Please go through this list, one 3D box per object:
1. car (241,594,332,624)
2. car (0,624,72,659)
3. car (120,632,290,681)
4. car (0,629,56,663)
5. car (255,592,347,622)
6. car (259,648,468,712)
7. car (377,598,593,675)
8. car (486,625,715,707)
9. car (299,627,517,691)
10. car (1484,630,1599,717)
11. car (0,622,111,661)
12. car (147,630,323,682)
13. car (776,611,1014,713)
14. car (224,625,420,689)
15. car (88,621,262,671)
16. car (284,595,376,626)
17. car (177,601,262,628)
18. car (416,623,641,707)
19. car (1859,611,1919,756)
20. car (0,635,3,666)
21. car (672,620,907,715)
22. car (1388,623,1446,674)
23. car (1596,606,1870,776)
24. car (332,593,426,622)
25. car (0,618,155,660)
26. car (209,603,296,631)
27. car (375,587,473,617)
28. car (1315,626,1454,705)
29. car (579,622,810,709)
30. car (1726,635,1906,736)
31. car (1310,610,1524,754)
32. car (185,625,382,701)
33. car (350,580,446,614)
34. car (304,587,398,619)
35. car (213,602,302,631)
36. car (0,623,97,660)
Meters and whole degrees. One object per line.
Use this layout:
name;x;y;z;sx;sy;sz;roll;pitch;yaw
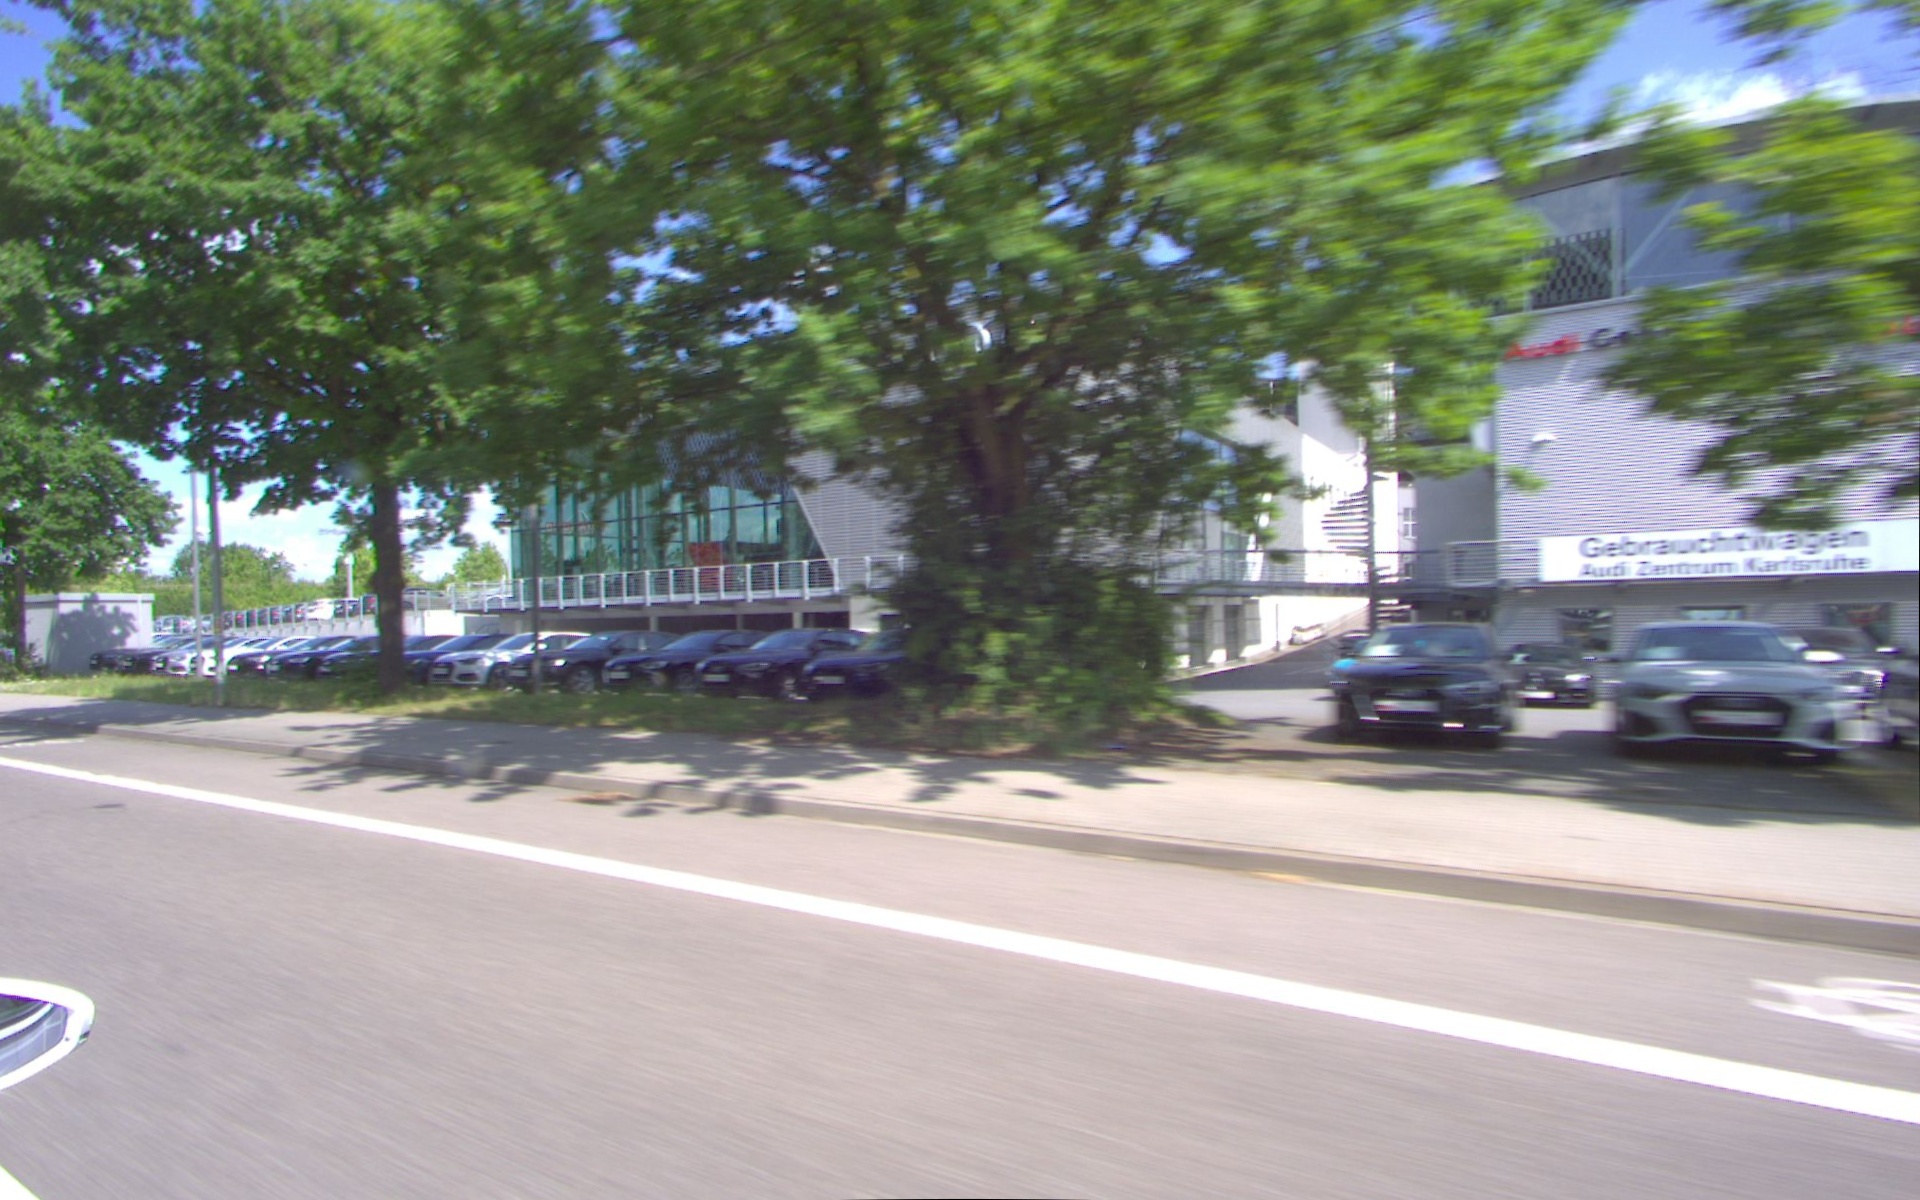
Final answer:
car;-42.339;0.599;63.031;1.910;1.798;4.343;1;-1;35
car;-43.211;1.866;45.189;1.907;1.532;4.349;1;-1;31
car;-24.676;1.814;32.849;1.829;1.464;4.099;-1;-1;32
car;-45.408;2.154;46.792;1.907;1.532;4.349;1;-1;31
car;-40.679;0.463;61.883;1.910;1.798;4.343;1;-1;35
car;-16.084;2.097;27.258;1.879;1.423;4.567;1;-1;32
car;-11.655;0.857;24.890;1.879;1.700;4.567;1;-1;32
car;-7.732;1.352;21.980;1.880;1.518;4.566;-1;-1;32
car;-14.011;1.436;25.693;1.879;1.423;4.567;1;-1;32
car;12.233;1.452;21.007;1.880;1.518;4.338;-1;-1;32
car;-38.893;1.727;42.242;1.907;1.532;4.349;1;-1;31
car;-22.662;1.699;31.444;1.792;1.422;4.099;-1;-1;32
car;-0.976;0.990;17.653;1.880;1.518;4.566;-1;-1;32
car;-18.207;1.688;28.779;1.760;1.530;4.346;1;-6;32
car;-26.888;1.535;34.437;1.829;1.532;4.345;-1;-1;32
car;-38.201;0.668;60.772;1.910;1.798;4.343;1;-1;35
car;-51.084;0.994;69.143;1.910;1.798;4.343;1;-1;35
car;-9.857;1.414;23.258;1.879;1.700;4.567;1;-1;32
car;10.189;0.823;9.333;1.879;1.401;4.569;1;-2;32
car;-49.766;2.495;48.665;1.907;1.532;4.349;1;-1;31
car;-3.082;1.194;19.139;1.880;1.518;4.566;-1;-1;32
car;19.708;2.034;43.108;1.969;2.040;3.984;1;0;29
car;8.124;0.927;10.956;1.879;1.422;4.571;1;-3;32
car;-33.695;0.457;58.205;1.910;1.572;4.343;1;-1;35
car;-34.776;1.492;39.489;1.907;1.532;4.349;1;-1;31
car;-46.796;1.121;66.280;1.910;1.798;4.343;1;-1;35
car;-29.423;0.113;55.077;1.910;1.572;4.343;1;-1;35
car;9.750;1.409;22.809;1.883;1.518;4.330;-2;-1;37
car;-5.309;1.261;20.669;1.880;1.518;4.566;-1;-1;32
car;15.752;1.485;18.682;1.880;1.518;4.338;-1;-1;32
car;5.885;0.924;12.548;1.879;1.423;4.569;1;-2;32
car;-20.289;1.810;30.245;1.879;2.076;4.567;1;-1;32
car;-31.560;-0.123;56.358;1.910;1.798;4.343;1;-1;35
car;-36.027;0.183;59.311;1.910;1.798;4.343;1;-1;35
car;-45.186;1.077;64.503;1.910;1.798;4.343;1;-1;35
car;-40.861;1.799;43.808;1.907;1.532;4.349;1;-1;31
